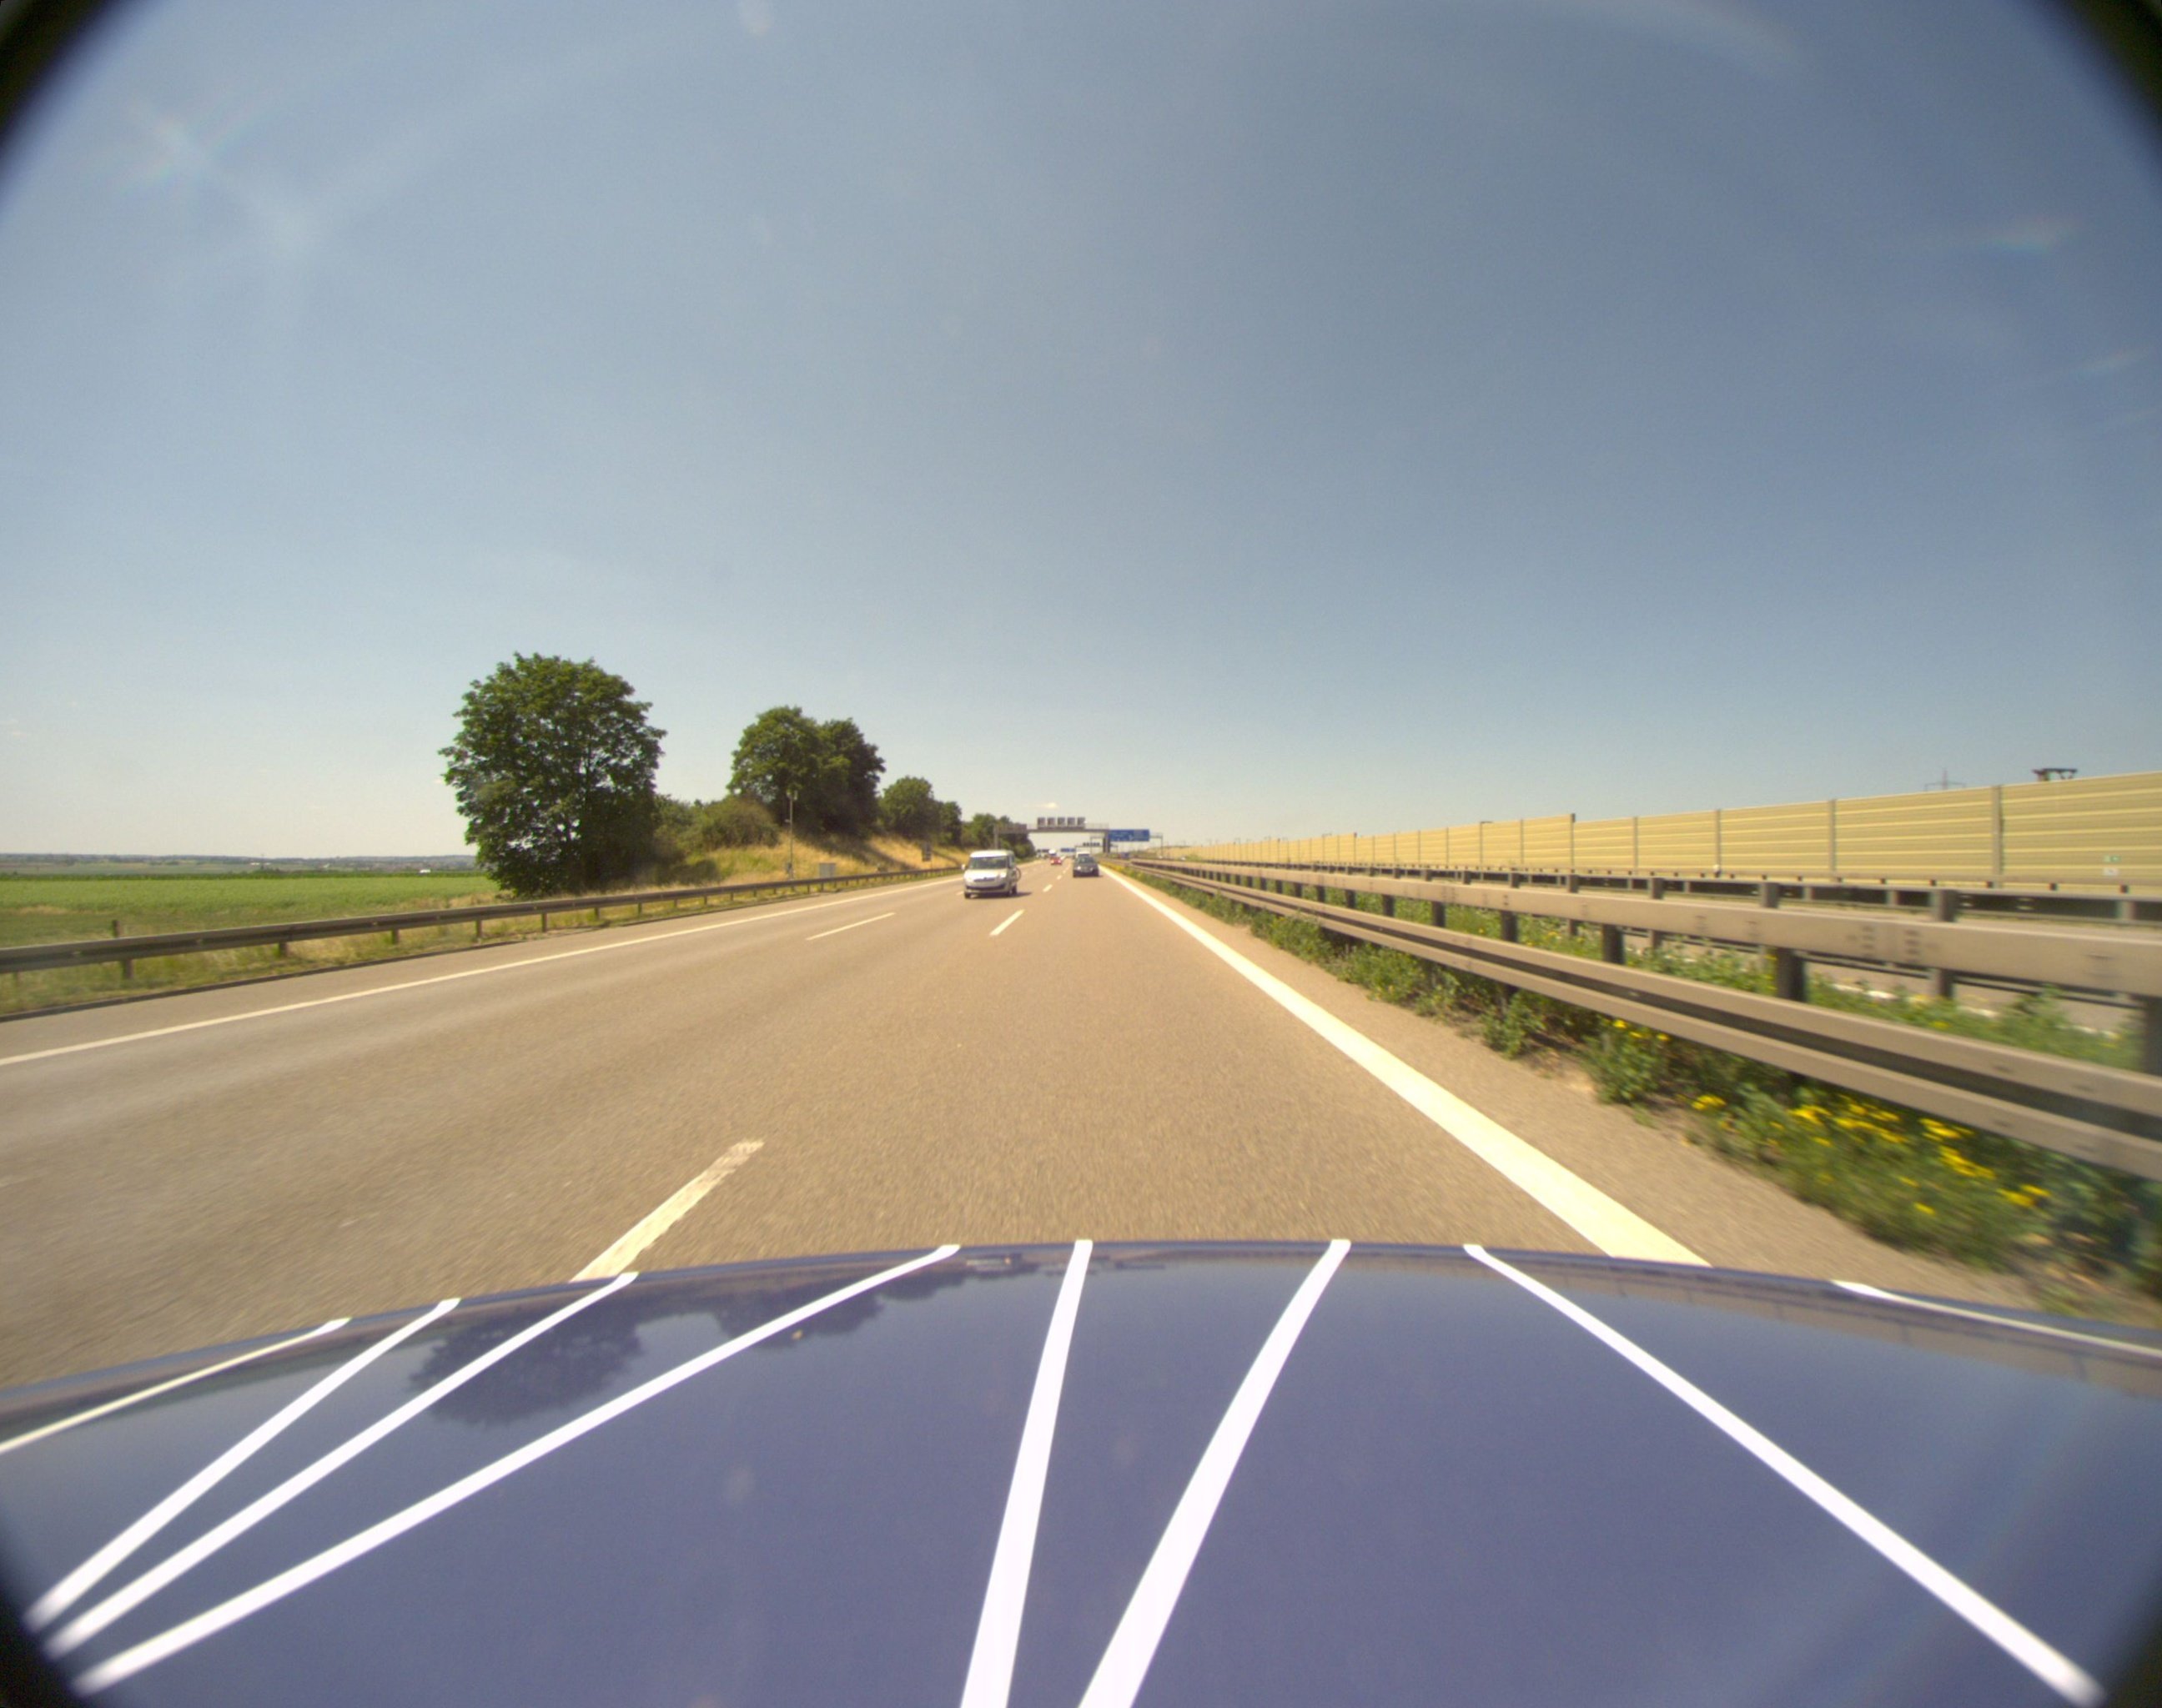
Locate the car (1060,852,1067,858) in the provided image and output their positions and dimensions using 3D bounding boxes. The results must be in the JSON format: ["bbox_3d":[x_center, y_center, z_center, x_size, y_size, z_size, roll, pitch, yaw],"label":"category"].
[{"bbox_3d":[-4.206,0.200,184.640,1.723,1.514,3.581,-2,1,-1],"label":"car"}]

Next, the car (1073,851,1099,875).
[{"bbox_3d":[0.300,0.601,53.241,1.715,1.586,4.546,0,0,-1],"label":"car"}]

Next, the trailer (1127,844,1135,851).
[{"bbox_3d":[17.020,-2.168,259.181,1.999,2.225,4.203,-2,1,-1],"label":"trailer"}]

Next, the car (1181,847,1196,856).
[{"bbox_3d":[18.483,-0.488,130.599,1.998,1.455,4.813,-1,0,0],"label":"car"}]

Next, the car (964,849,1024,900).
[{"bbox_3d":[-3.404,0.753,30.764,1.812,1.836,5.311,-2,0,-1],"label":"car"}]

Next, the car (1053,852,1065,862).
[{"bbox_3d":[-3.547,0.478,122.177,1.723,1.514,3.581,-2,1,-1],"label":"car"}]

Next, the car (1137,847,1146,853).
[{"bbox_3d":[16.462,-1.176,207.746,1.901,1.561,5.246,1,0,0],"label":"car"}]

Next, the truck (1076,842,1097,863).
[{"bbox_3d":[0.637,-0.224,91.822,2.333,2.378,6.685,-2,1,-1],"label":"truck"}]
